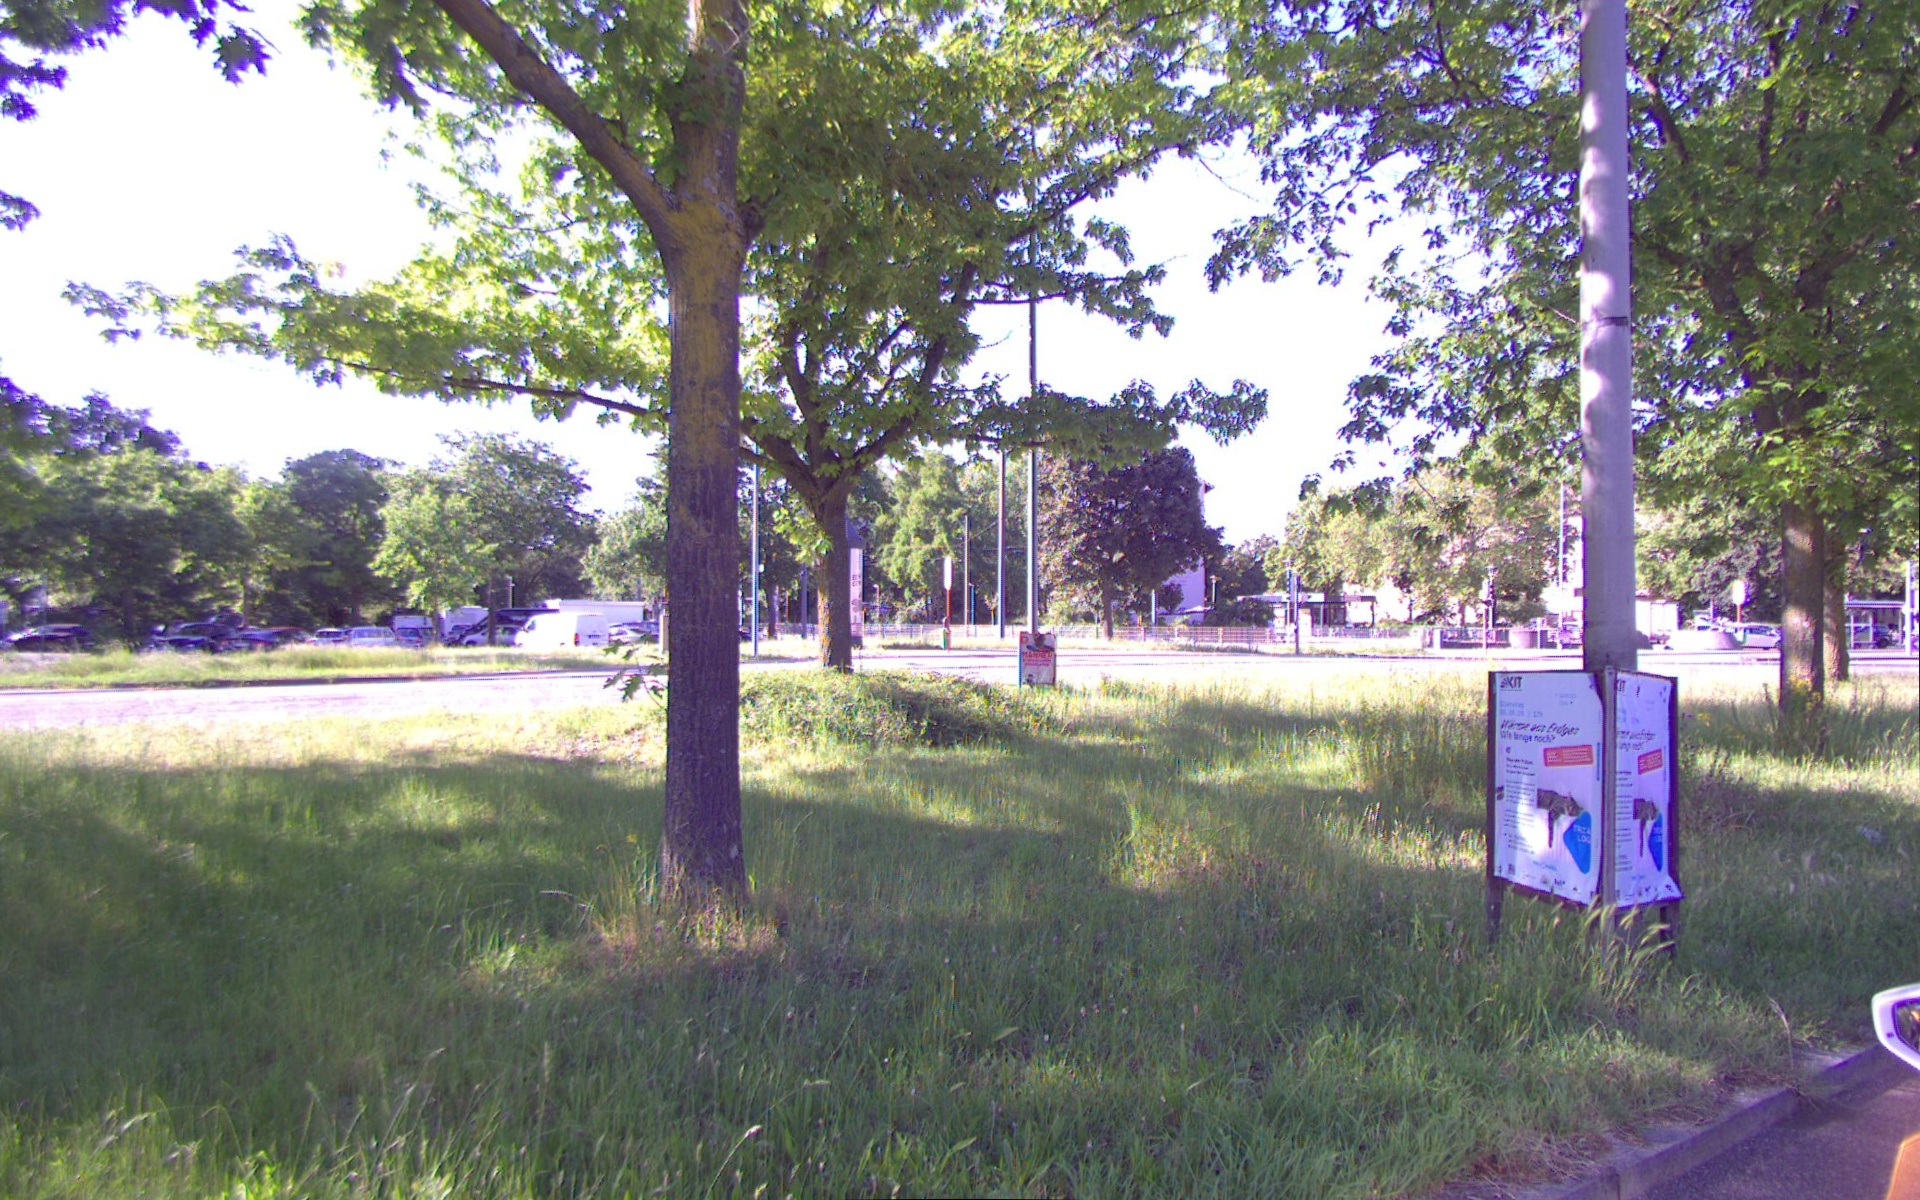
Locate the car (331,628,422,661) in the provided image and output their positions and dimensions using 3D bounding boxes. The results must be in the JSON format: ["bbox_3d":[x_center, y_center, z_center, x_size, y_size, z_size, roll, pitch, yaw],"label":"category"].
[{"bbox_3d":[-21.830,1.636,37.629,2.769,1.171,1.326,1,-1,-40],"label":"car"}]

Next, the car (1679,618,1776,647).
[{"bbox_3d":[46.902,1.964,61.465,4.233,1.706,2.001,0,-1,9],"label":"car"}]

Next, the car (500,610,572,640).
[{"bbox_3d":[-24.135,1.414,57.284,3.698,1.691,1.883,1,-1,-23],"label":"car"}]

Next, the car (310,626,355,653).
[{"bbox_3d":[-29.299,1.826,46.859,1.603,1.194,3.047,1,-1,-35],"label":"car"}]

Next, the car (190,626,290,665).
[{"bbox_3d":[-25.237,1.565,35.239,2.769,1.323,1.326,1,-1,-40],"label":"car"}]

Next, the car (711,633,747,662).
[{"bbox_3d":[-12.035,2.455,52.483,1.589,1.438,3.073,0,-1,-8],"label":"car"}]

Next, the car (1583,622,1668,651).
[{"bbox_3d":[41.412,2.260,62.565,3.919,1.706,2.001,0,-1,9],"label":"car"}]

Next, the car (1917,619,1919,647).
[{"bbox_3d":[72.250,2.381,72.555,1.910,2.040,4.155,1,-1,-31],"label":"car"}]

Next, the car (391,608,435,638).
[{"bbox_3d":[-32.494,1.366,59.780,1.865,1.691,3.733,1,-1,-22],"label":"car"}]

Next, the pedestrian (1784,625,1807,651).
[{"bbox_3d":[53.709,2.436,64.593,0.781,1.629,0.923,0,-1,9],"label":"pedestrian"}]

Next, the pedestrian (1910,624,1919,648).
[{"bbox_3d":[56.649,2.130,59.385,0.614,1.409,0.416,0,-1,-3],"label":"pedestrian"}]

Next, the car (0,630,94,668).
[{"bbox_3d":[-47.664,2.498,51.897,1.966,1.817,3.990,0,-1,32],"label":"car"}]

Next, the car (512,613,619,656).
[{"bbox_3d":[-17.222,1.476,43.796,4.670,1.762,2.024,0,-1,34],"label":"car"}]

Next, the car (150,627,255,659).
[{"bbox_3d":[-26.846,1.506,35.623,1.315,1.078,2.777,-1,-1,42],"label":"car"}]

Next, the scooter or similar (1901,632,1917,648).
[{"bbox_3d":[56.078,2.349,59.348,0.524,0.939,0.421,0,-1,-4],"label":"scooter or similar"}]

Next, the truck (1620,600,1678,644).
[{"bbox_3d":[46.635,1.477,68.090,1.960,2.842,4.002,0,-1,15],"label":"truck"}]

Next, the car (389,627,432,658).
[{"bbox_3d":[-26.706,2.030,48.773,1.602,1.438,3.050,1,-1,-33],"label":"car"}]
